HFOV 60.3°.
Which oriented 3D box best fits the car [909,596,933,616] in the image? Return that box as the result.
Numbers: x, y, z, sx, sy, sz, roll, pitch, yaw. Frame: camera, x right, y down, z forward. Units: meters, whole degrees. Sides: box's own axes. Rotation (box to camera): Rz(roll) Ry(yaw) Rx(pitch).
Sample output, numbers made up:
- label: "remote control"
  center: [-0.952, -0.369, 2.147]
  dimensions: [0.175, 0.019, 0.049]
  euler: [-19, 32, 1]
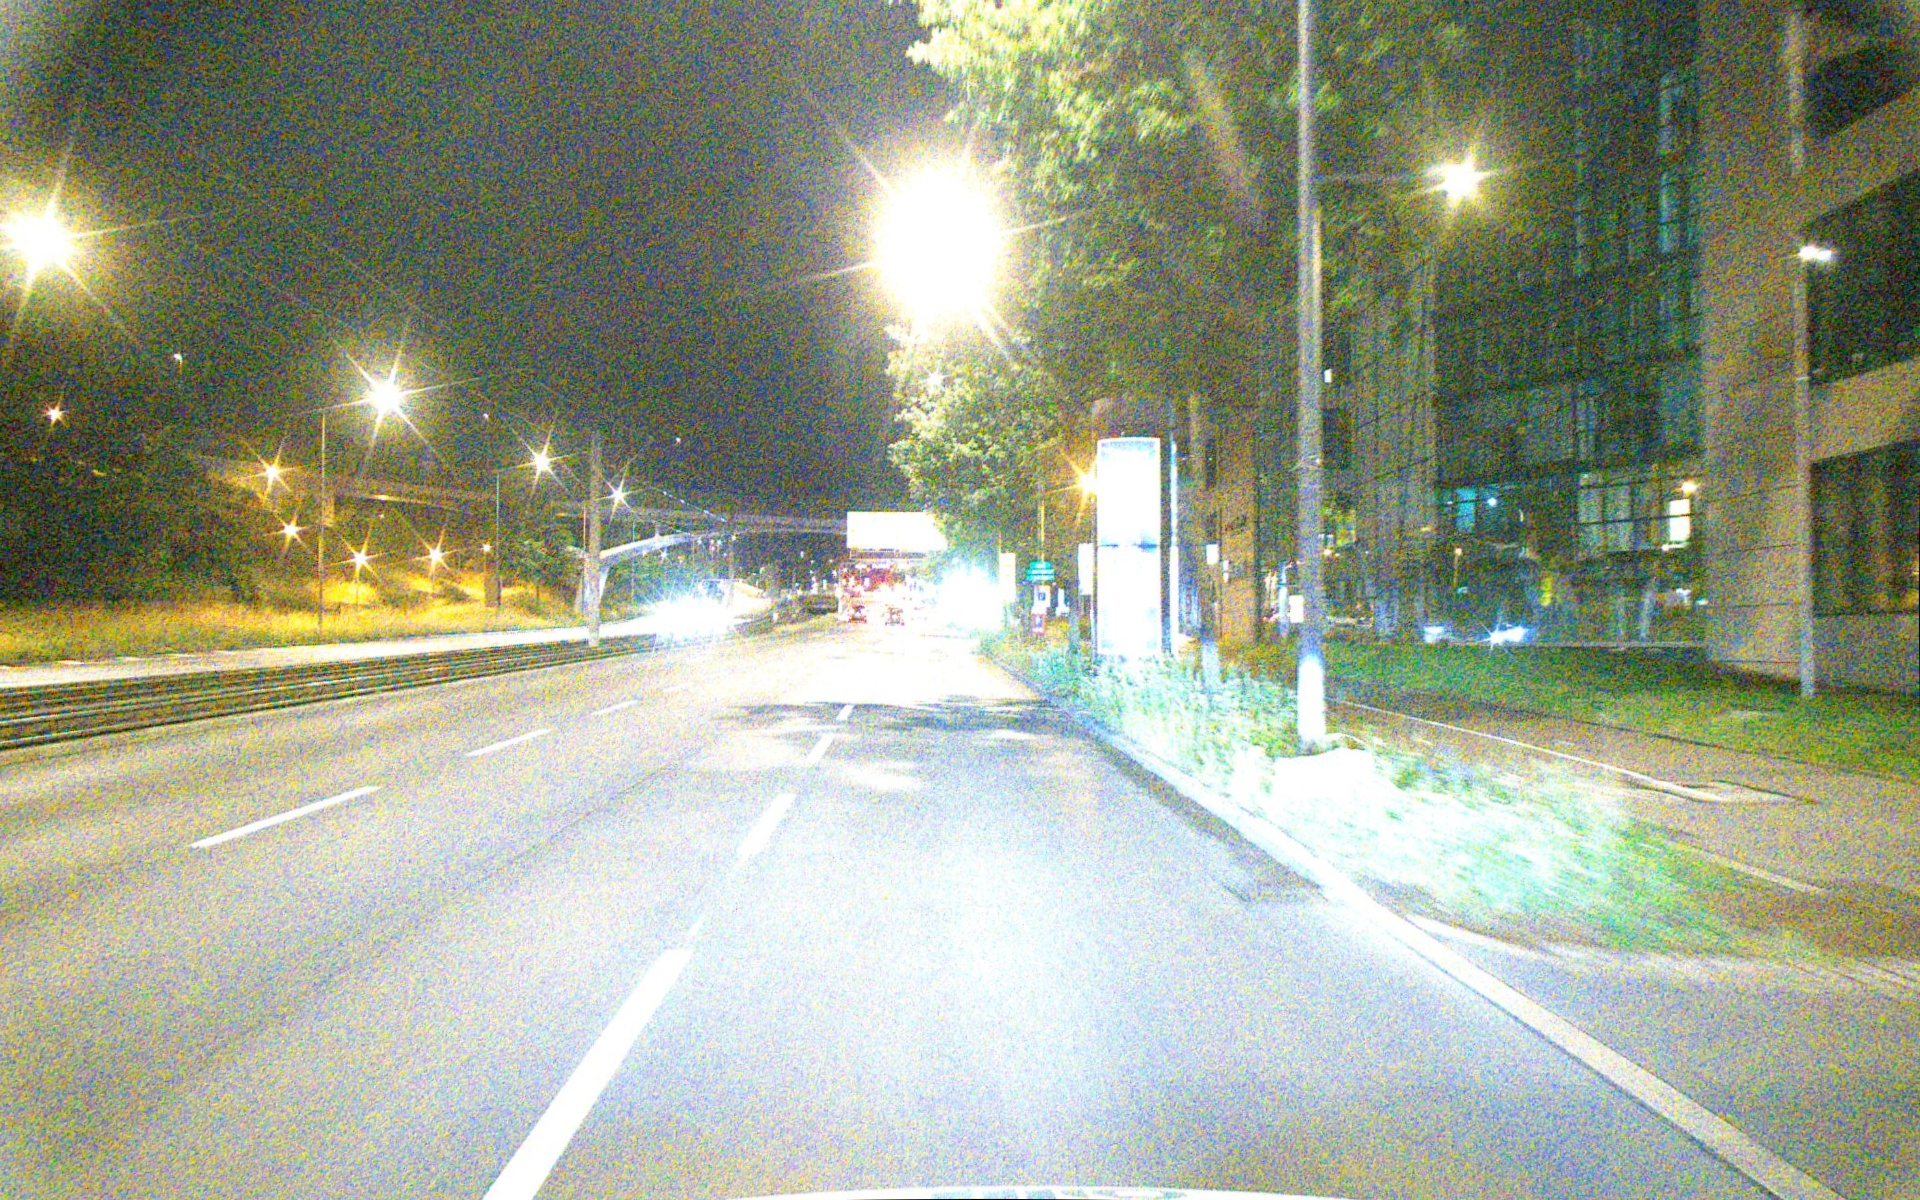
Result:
- label: "car"
  center: [-4.226, 0.649, 179.928]
  dimensions: [2.377, 2.150, 4.827]
  euler: [1, 0, 1]

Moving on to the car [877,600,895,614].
- label: "car"
  center: [-8.502, 0.834, 190.141]
  dimensions: [1.953, 1.580, 3.999]
  euler: [0, 0, -1]

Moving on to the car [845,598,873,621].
- label: "car"
  center: [-9.555, 0.873, 156.820]
  dimensions: [2.216, 2.049, 4.827]
  euler: [1, 0, 2]

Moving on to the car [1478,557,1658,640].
- label: "car"
  center: [14.449, -0.033, 39.320]
  dimensions: [3.716, 1.895, 1.984]
  euler: [0, 0, -25]

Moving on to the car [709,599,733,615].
- label: "car"
  center: [-22.999, 0.636, 159.196]
  dimensions: [1.872, 1.499, 3.770]
  euler: [1, 0, -2]

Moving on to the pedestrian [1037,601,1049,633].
- label: "pedestrian"
  center: [5.501, 1.125, 109.657]
  dimensions: [0.746, 2.099, 0.643]
  euler: [1, 0, -1]

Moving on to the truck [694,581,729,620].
- label: "truck"
  center: [-25.873, 0.020, 172.209]
  dimensions: [2.979, 3.886, 4.934]
  euler: [1, 0, -1]

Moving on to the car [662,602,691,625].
- label: "car"
  center: [-23.420, 1.094, 136.612]
  dimensions: [1.826, 1.781, 3.700]
  euler: [1, 0, -2]

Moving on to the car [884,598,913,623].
- label: "car"
  center: [-5.549, 0.905, 150.697]
  dimensions: [2.307, 2.166, 4.827]
  euler: [1, 0, 1]

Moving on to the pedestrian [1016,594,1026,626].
- label: "pedestrian"
  center: [4.686, 0.753, 127.285]
  dimensions: [0.729, 2.477, 0.780]
  euler: [1, 0, 1]
